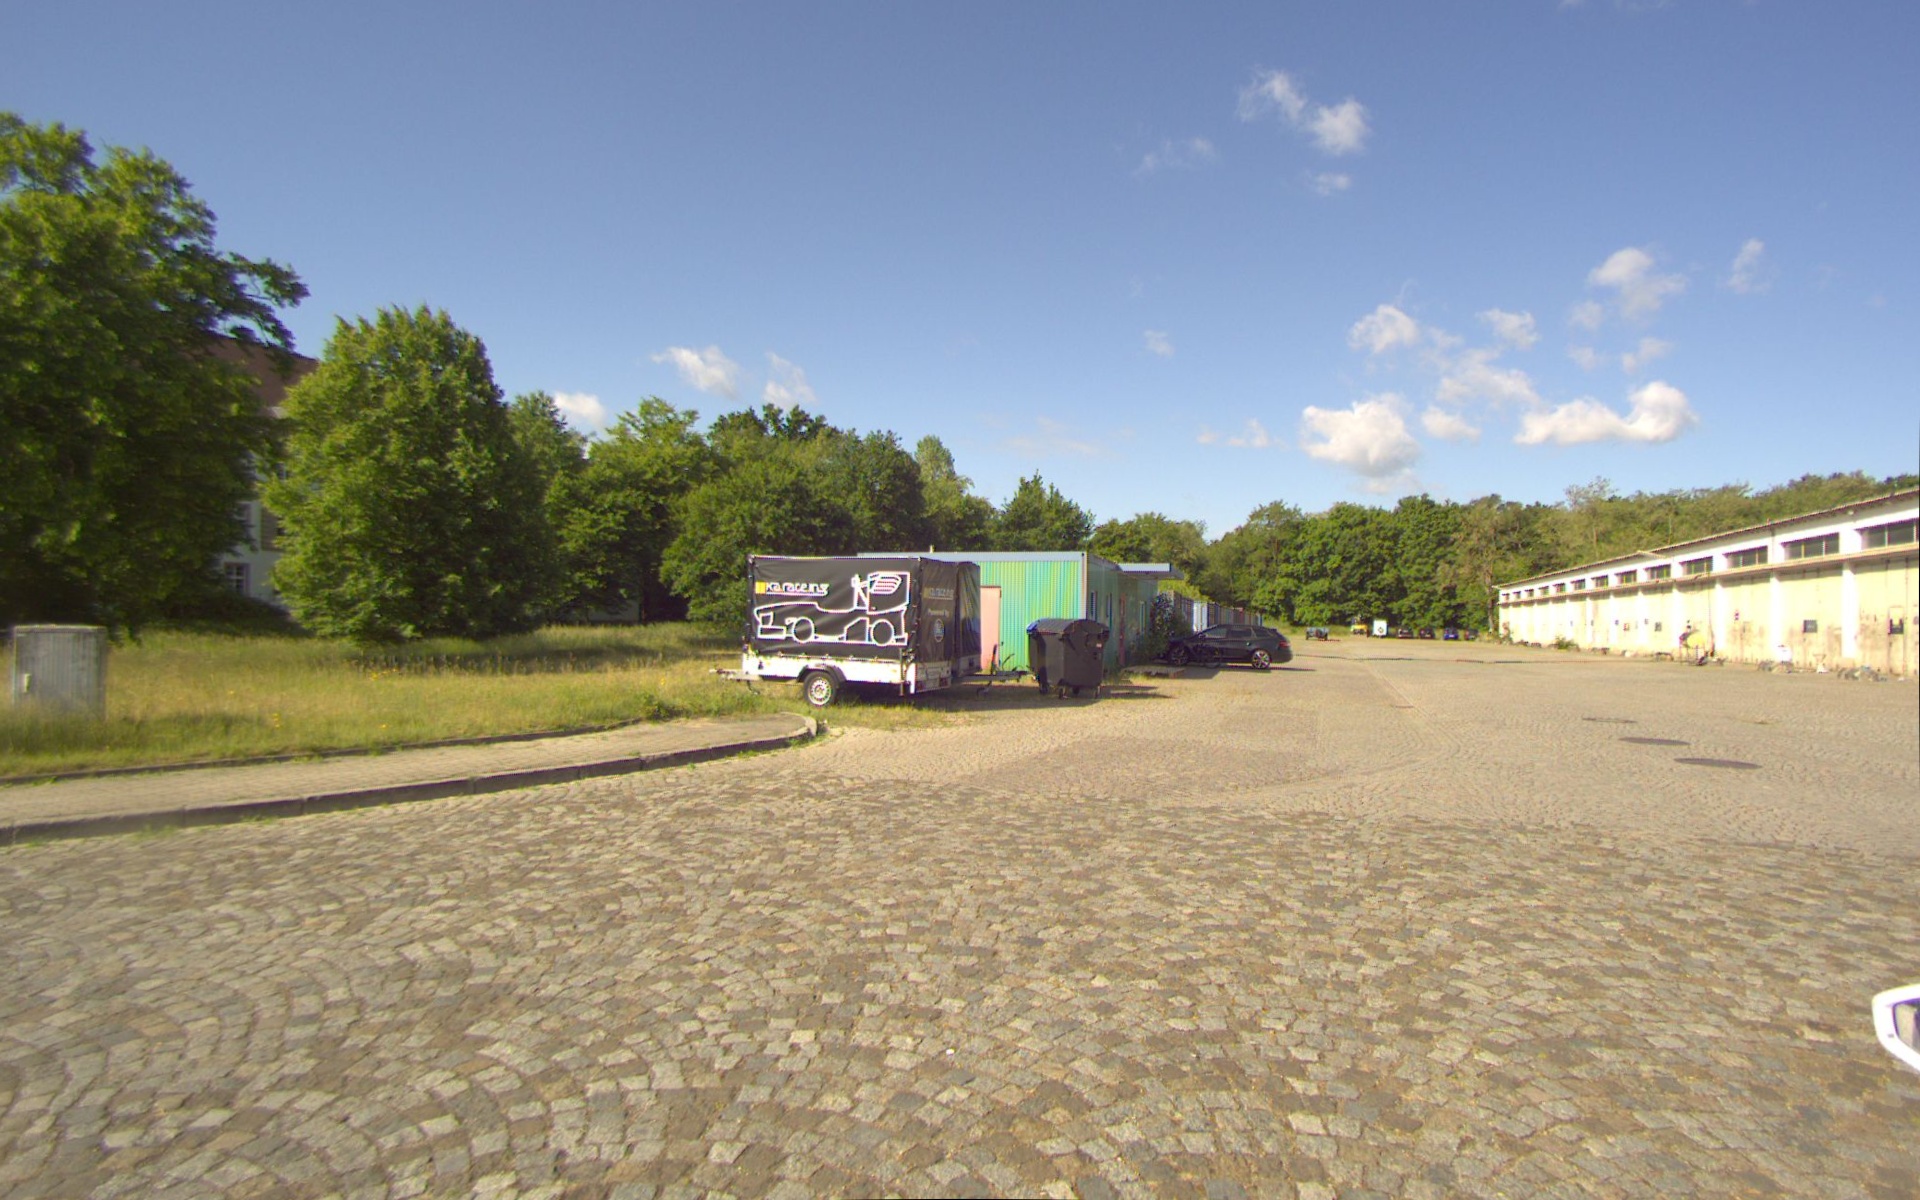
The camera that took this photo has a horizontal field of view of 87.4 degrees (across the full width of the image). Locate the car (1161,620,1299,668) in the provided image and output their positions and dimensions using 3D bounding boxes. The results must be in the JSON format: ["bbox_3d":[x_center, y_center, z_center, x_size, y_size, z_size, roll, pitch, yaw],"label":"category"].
[{"bbox_3d":[9.040,1.444,33.663,4.340,1.484,2.001,0,-1,17],"label":"car"}]

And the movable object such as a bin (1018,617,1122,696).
[{"bbox_3d":[2.038,1.028,18.817,1.367,1.404,1.527,1,-1,-24],"label":"movable object such as a bin"}]

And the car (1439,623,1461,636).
[{"bbox_3d":[58.275,3.504,119.568,1.961,1.485,4.000,0,-1,20],"label":"car"}]

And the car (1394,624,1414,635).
[{"bbox_3d":[53.439,3.542,121.010,1.961,1.275,4.000,0,-1,20],"label":"car"}]

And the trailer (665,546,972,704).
[{"bbox_3d":[-2.321,0.383,16.673,4.579,2.328,2.137,0,-1,22],"label":"trailer"}]

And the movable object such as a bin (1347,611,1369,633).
[{"bbox_3d":[49.404,2.691,124.678,2.194,2.692,4.001,0,-1,18],"label":"movable object such as a bin"}]

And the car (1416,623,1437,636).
[{"bbox_3d":[55.893,3.534,120.480,1.961,1.443,4.000,0,-1,20],"label":"car"}]

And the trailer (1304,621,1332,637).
[{"bbox_3d":[38.487,3.099,108.155,2.745,1.668,5.621,0,-1,19],"label":"trailer"}]

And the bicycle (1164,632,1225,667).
[{"bbox_3d":[7.578,1.581,32.449,1.843,1.041,1.039,0,-1,18],"label":"bicycle"}]

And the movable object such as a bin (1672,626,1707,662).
[{"bbox_3d":[29.798,1.798,41.039,0.860,1.420,1.101,0,-1,19],"label":"movable object such as a bin"}]

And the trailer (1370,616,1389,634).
[{"bbox_3d":[51.408,3.076,123.104,1.961,2.191,4.432,0,-1,20],"label":"trailer"}]

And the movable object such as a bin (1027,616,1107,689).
[{"bbox_3d":[2.259,1.070,21.022,1.275,1.441,1.535,0,-1,21],"label":"movable object such as a bin"}]

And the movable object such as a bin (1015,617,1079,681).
[{"bbox_3d":[2.000,1.091,22.877,1.358,1.404,1.537,1,-1,8],"label":"movable object such as a bin"}]

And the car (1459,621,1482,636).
[{"bbox_3d":[60.874,3.418,119.915,1.961,1.796,4.000,0,-1,20],"label":"car"}]

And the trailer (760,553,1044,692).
[{"bbox_3d":[-1.052,0.388,18.852,4.876,2.386,2.096,0,-1,17],"label":"trailer"}]
